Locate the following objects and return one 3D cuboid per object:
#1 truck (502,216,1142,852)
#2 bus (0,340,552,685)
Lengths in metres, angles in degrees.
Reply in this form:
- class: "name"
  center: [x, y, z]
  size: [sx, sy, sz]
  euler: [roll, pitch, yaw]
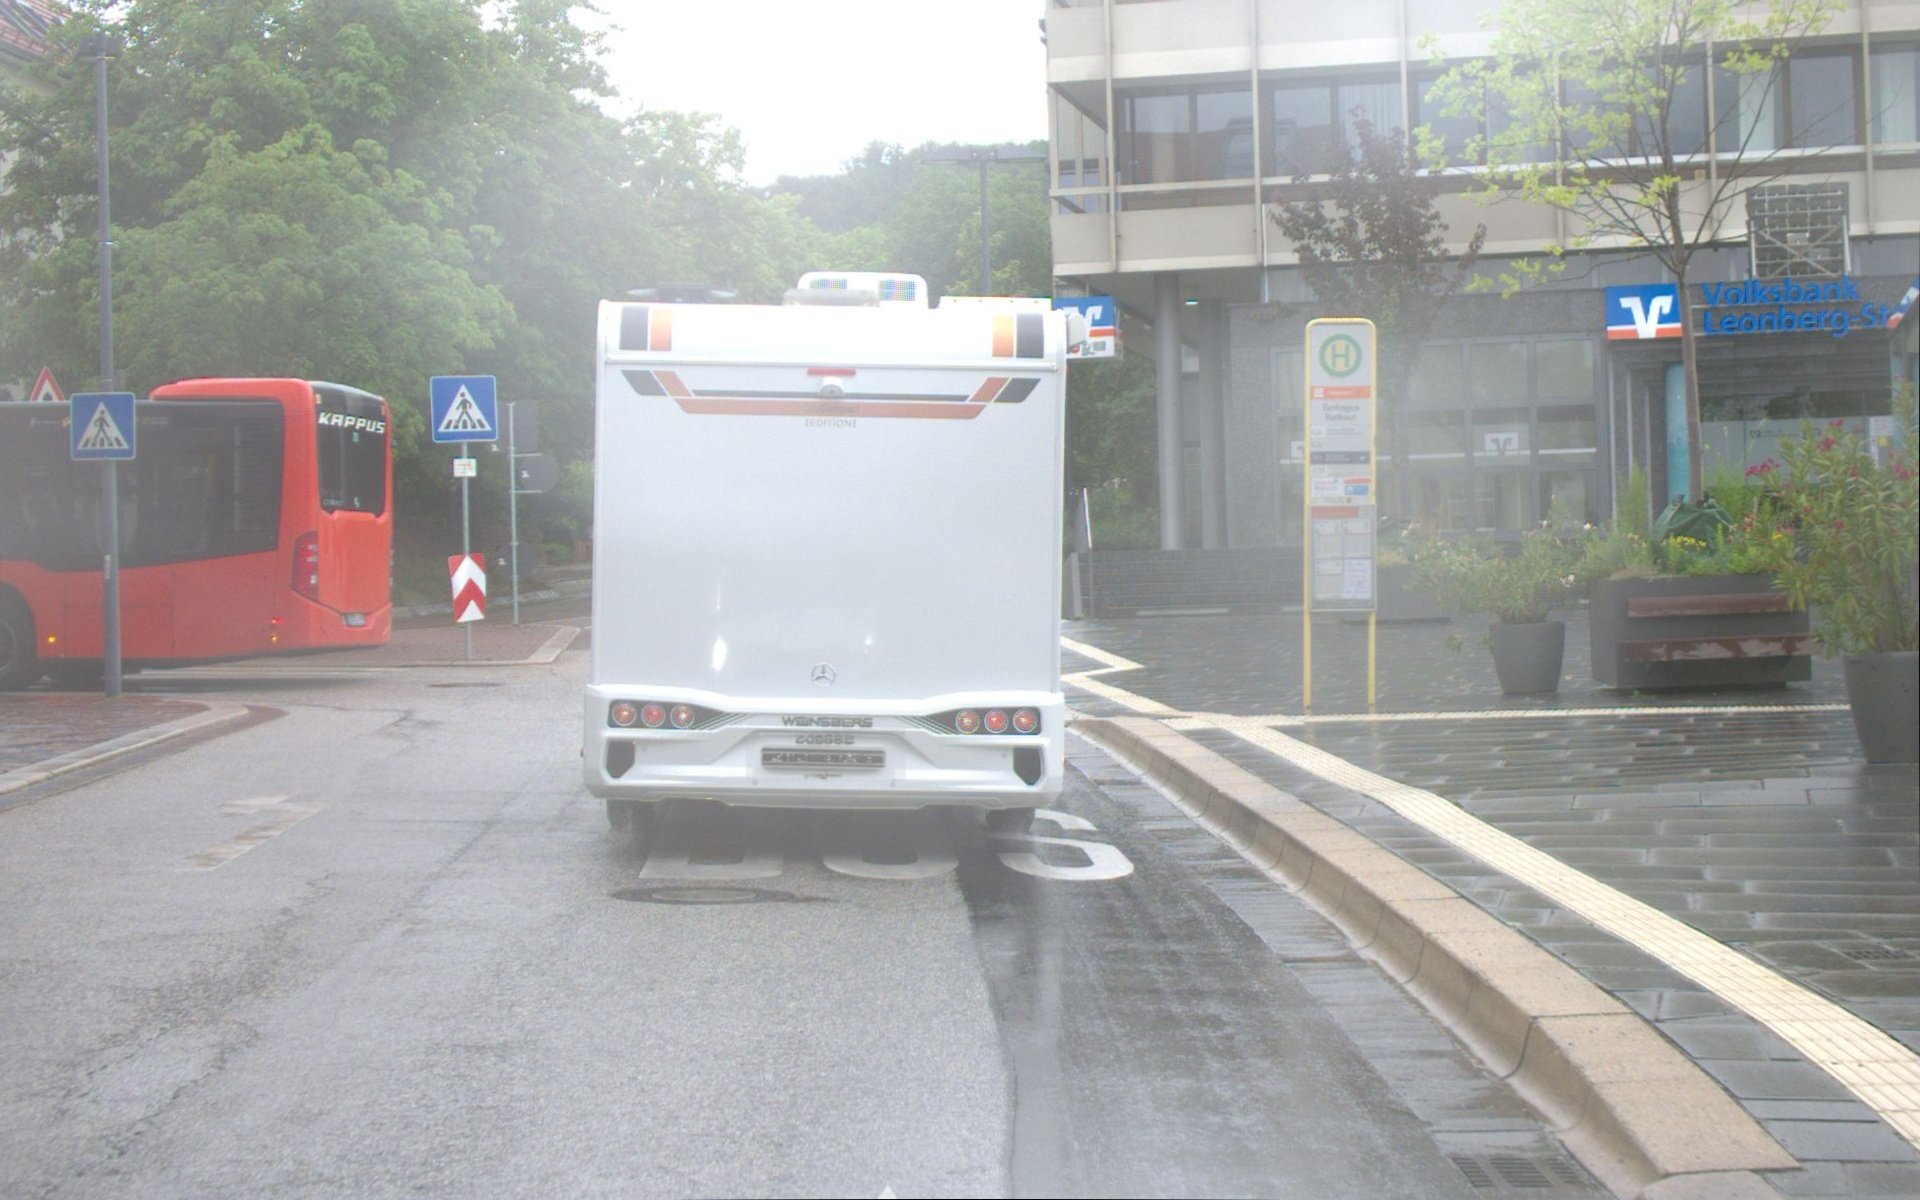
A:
- class: "truck"
  center: [-0.815, -0.320, 18.701]
  size: [2.805, 2.787, 6.107]
  euler: [-2, 0, -4]
- class: "bus"
  center: [-9.534, -0.744, 35.121]
  size: [10.118, 3.135, 3.032]
  euler: [-2, 0, 8]
